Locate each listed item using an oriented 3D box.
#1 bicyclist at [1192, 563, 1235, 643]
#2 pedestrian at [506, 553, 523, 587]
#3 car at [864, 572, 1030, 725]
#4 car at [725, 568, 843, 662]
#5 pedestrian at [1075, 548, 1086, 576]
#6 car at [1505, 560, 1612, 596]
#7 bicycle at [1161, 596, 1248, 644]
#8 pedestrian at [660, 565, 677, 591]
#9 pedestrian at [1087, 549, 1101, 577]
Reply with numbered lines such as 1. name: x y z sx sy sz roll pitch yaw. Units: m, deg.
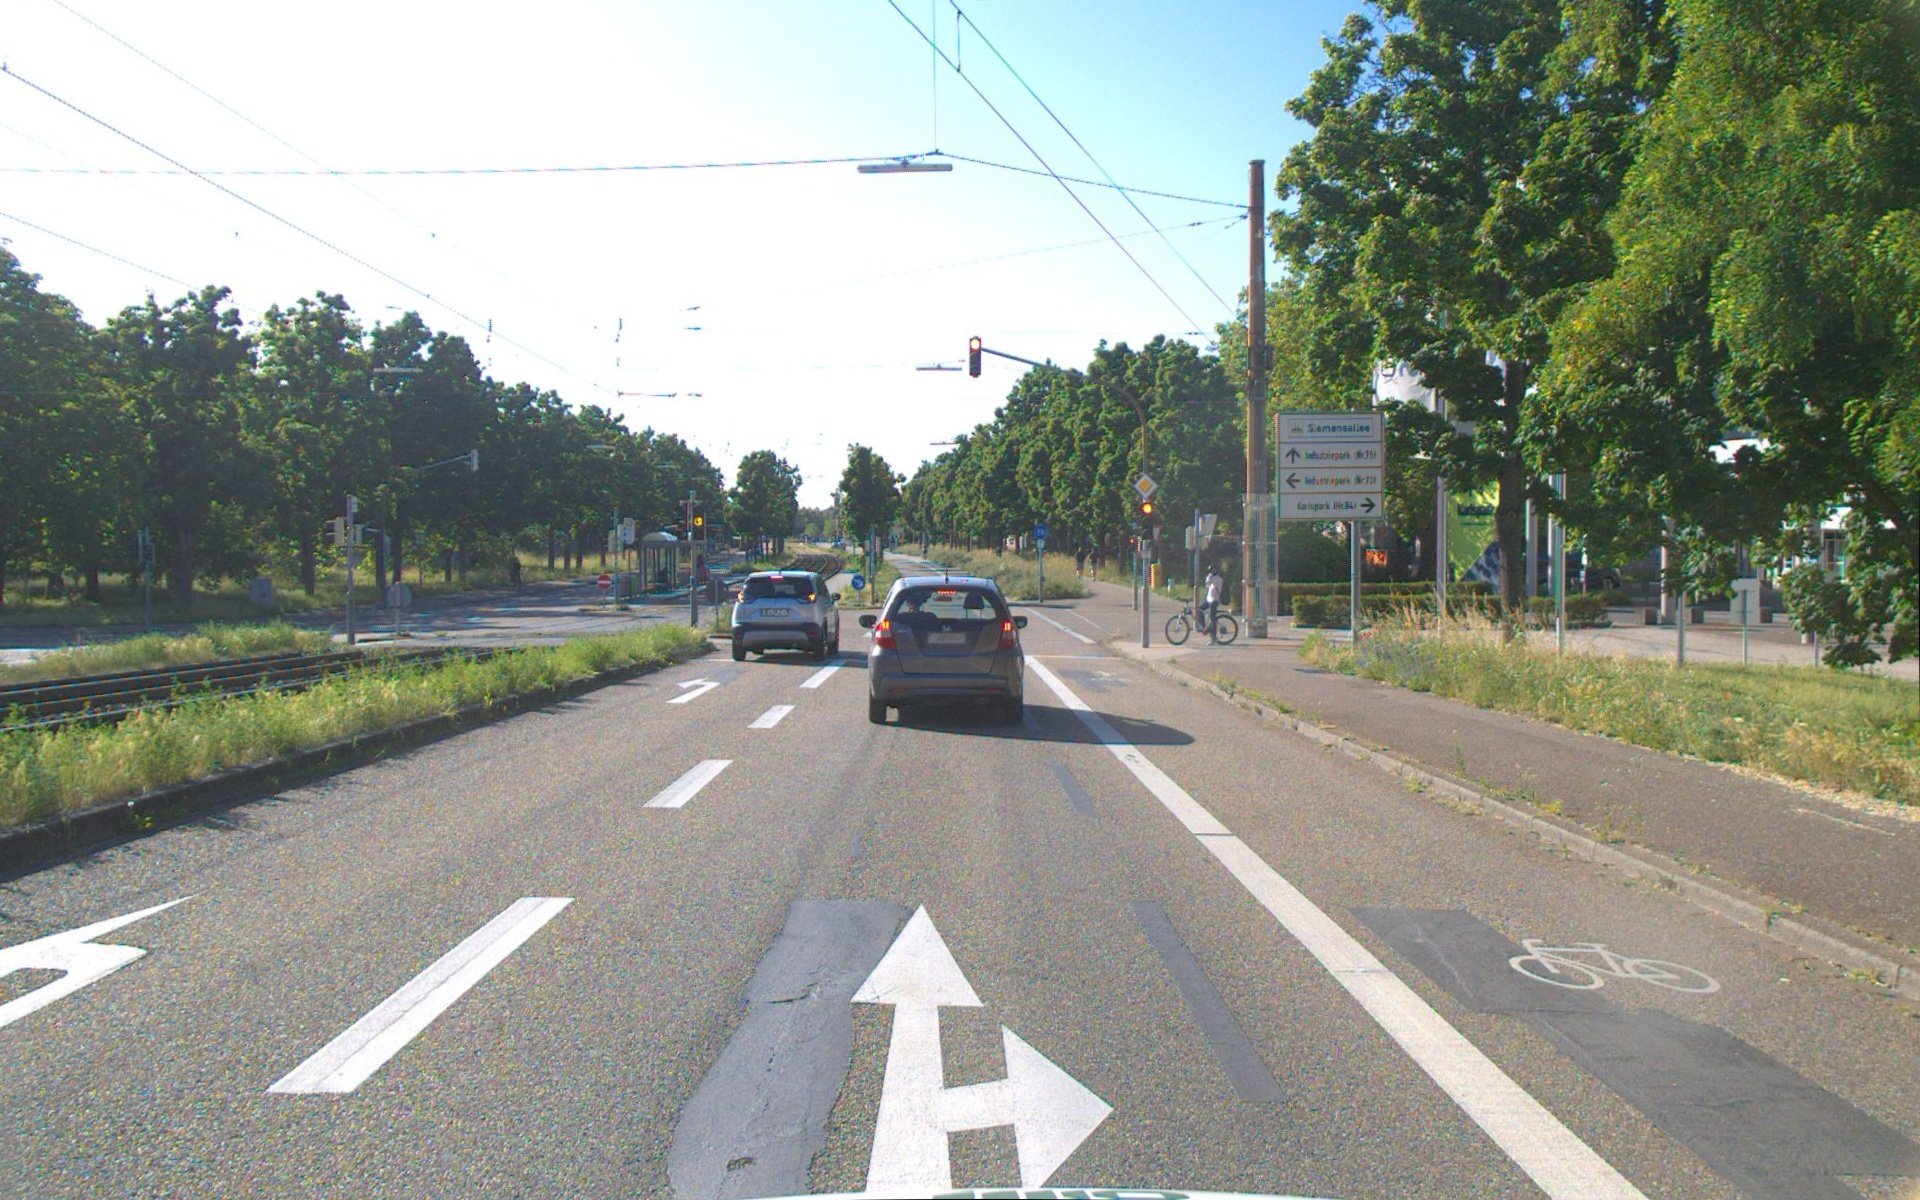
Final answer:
1. bicyclist: 5.728 0.071 37.329 0.890 1.775 0.765 -1 0 10
2. pedestrian: -26.995 -1.814 100.214 0.823 2.049 0.863 0 1 -2
3. car: -0.121 0.462 18.802 1.672 1.535 4.000 1 1 0
4. car: -3.248 0.235 31.253 1.813 1.634 4.254 0 1 -1
5. pedestrian: 6.993 -2.198 95.951 0.556 1.624 0.665 1 0 -4
6. car: 28.328 -1.057 78.317 4.458 1.658 1.870 0 1 -13
7. bicycle: 5.533 0.452 37.369 1.879 1.015 0.765 -2 0 10
8. pedestrian: -14.702 -1.104 83.463 0.706 1.267 0.710 -1 1 -2
9. pedestrian: 7.766 -2.148 96.017 0.664 1.638 0.720 1 0 -3
